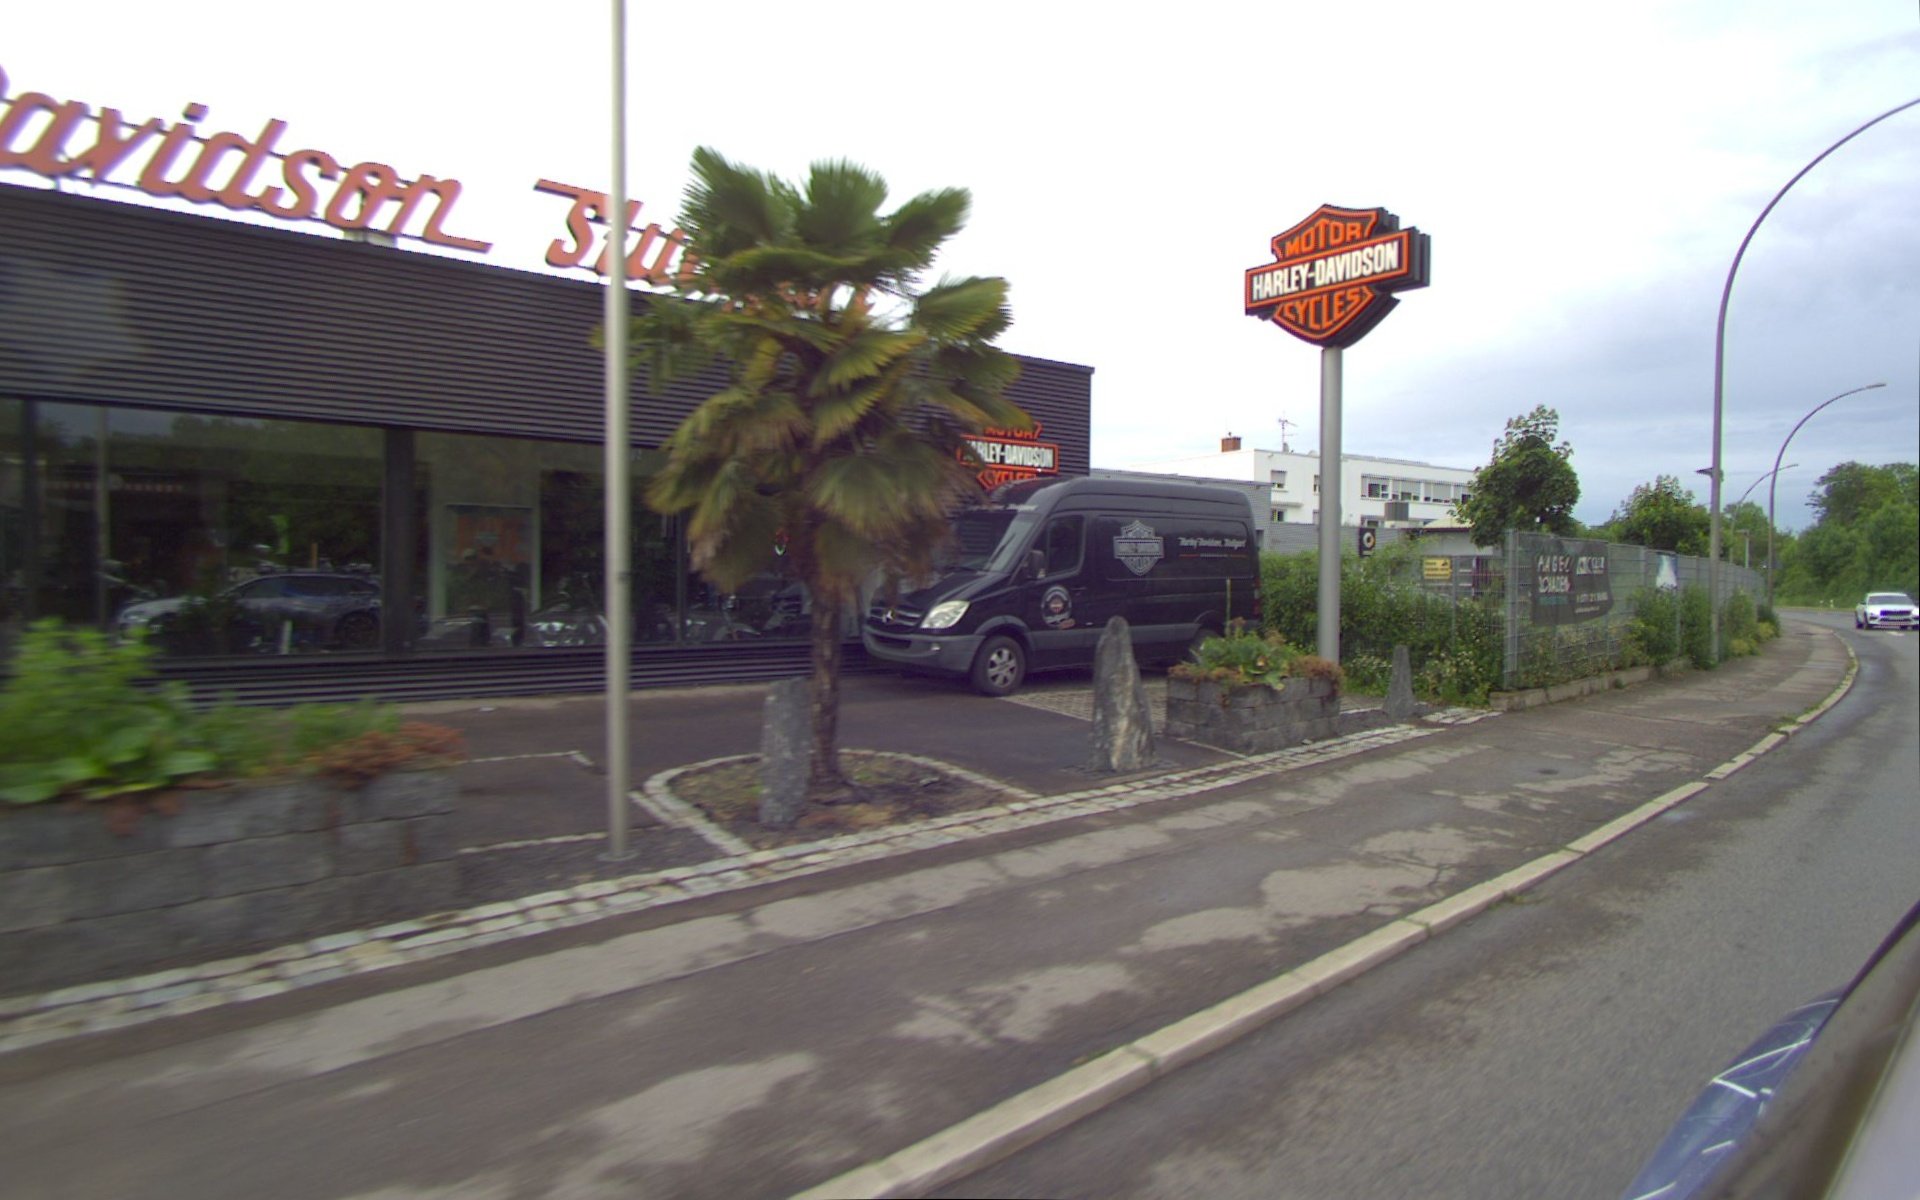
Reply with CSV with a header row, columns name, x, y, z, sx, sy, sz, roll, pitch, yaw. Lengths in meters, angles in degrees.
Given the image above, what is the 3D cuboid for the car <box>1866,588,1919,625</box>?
name,x,y,z,sx,sy,sz,roll,pitch,yaw
car,42.538,0.256,45.731,1.837,1.594,3.781,1,1,34

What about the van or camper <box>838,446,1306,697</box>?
name,x,y,z,sx,sy,sz,roll,pitch,yaw
van or camper,1.732,-0.335,13.360,6.466,2.625,2.047,0,1,-36
